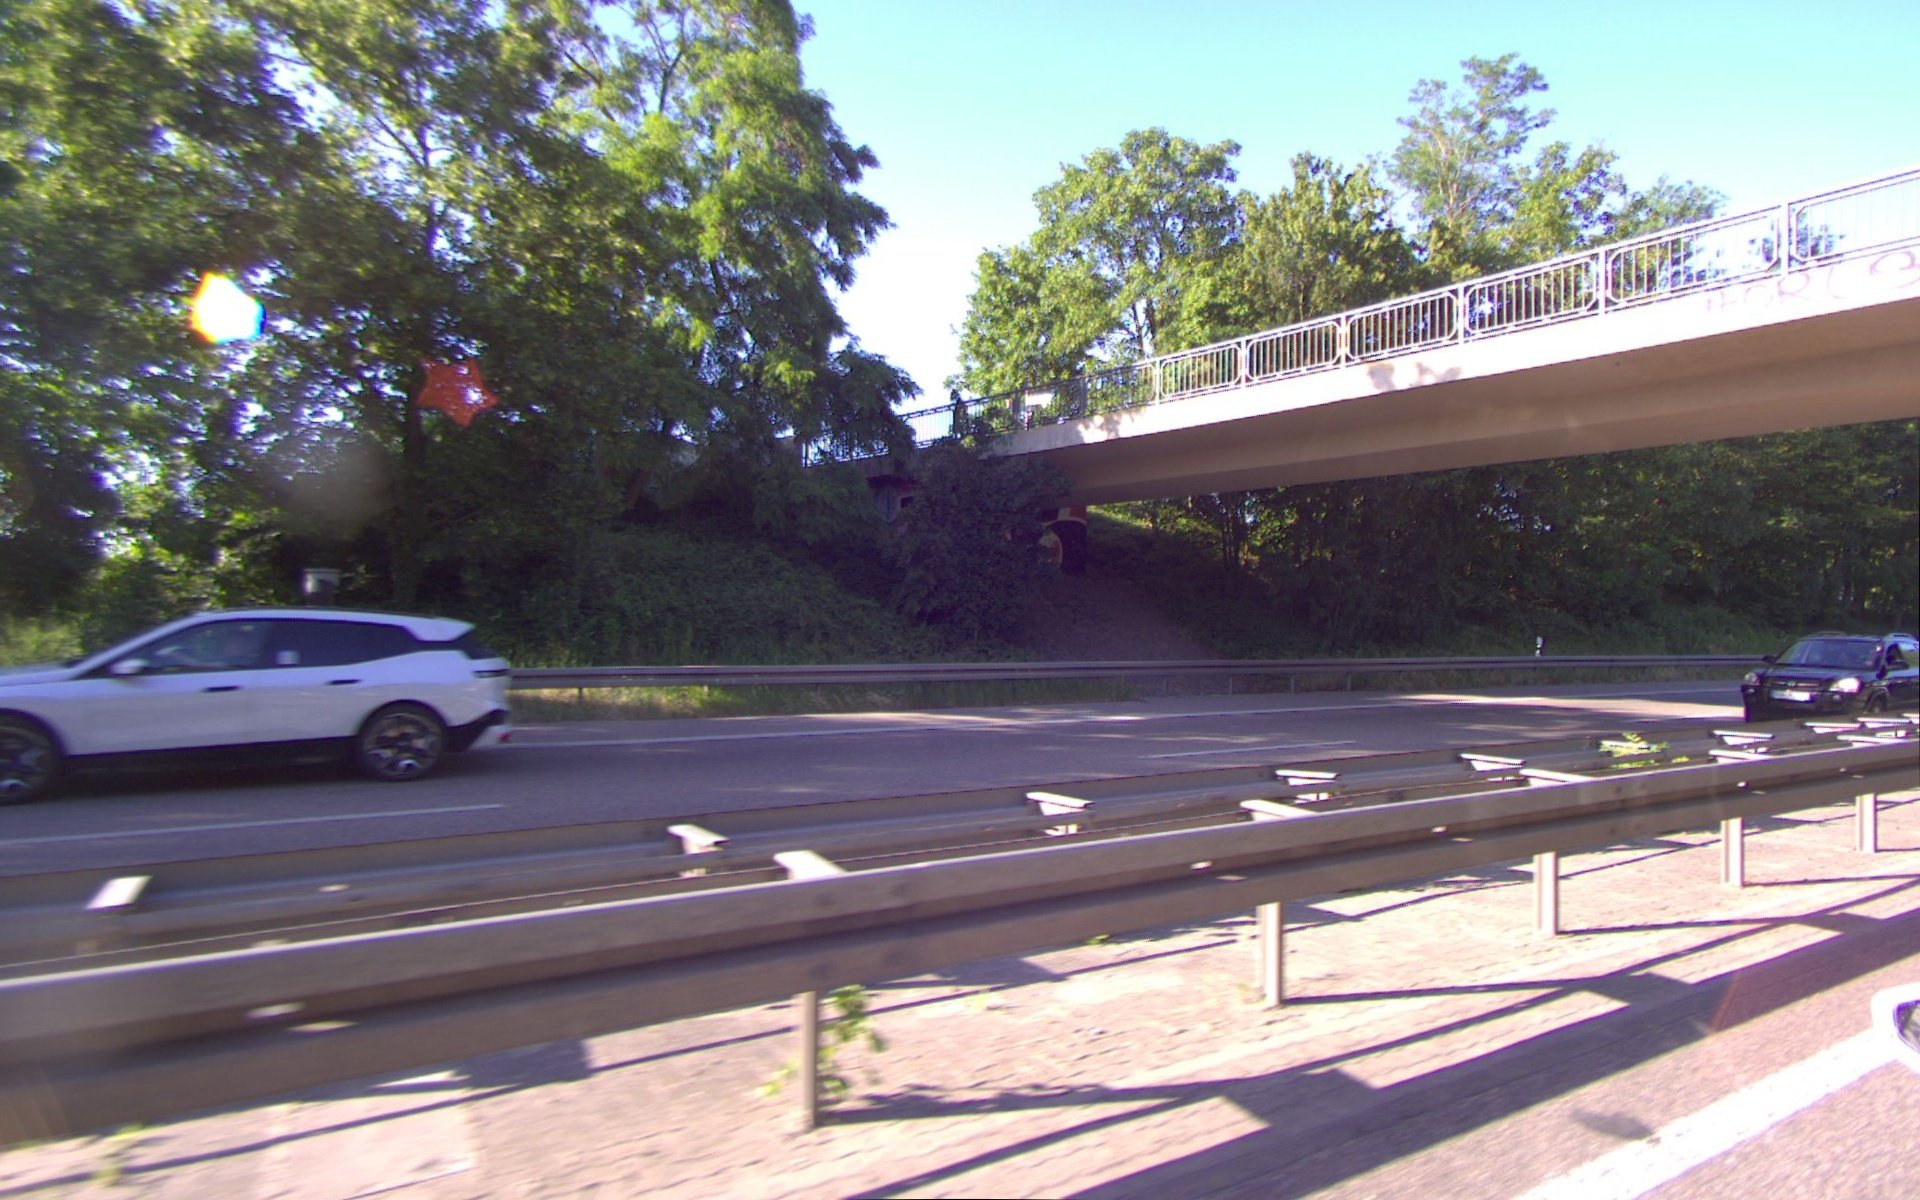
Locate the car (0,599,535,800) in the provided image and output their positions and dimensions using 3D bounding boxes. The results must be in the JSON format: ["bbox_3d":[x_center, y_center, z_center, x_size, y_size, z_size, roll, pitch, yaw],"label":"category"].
[{"bbox_3d":[-7.069,0.885,10.085,4.980,1.681,1.952,1,-1,-30],"label":"car"}]

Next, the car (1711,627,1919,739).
[{"bbox_3d":[15.482,1.368,17.762,4.539,1.746,1.951,1,-1,-31],"label":"car"}]
